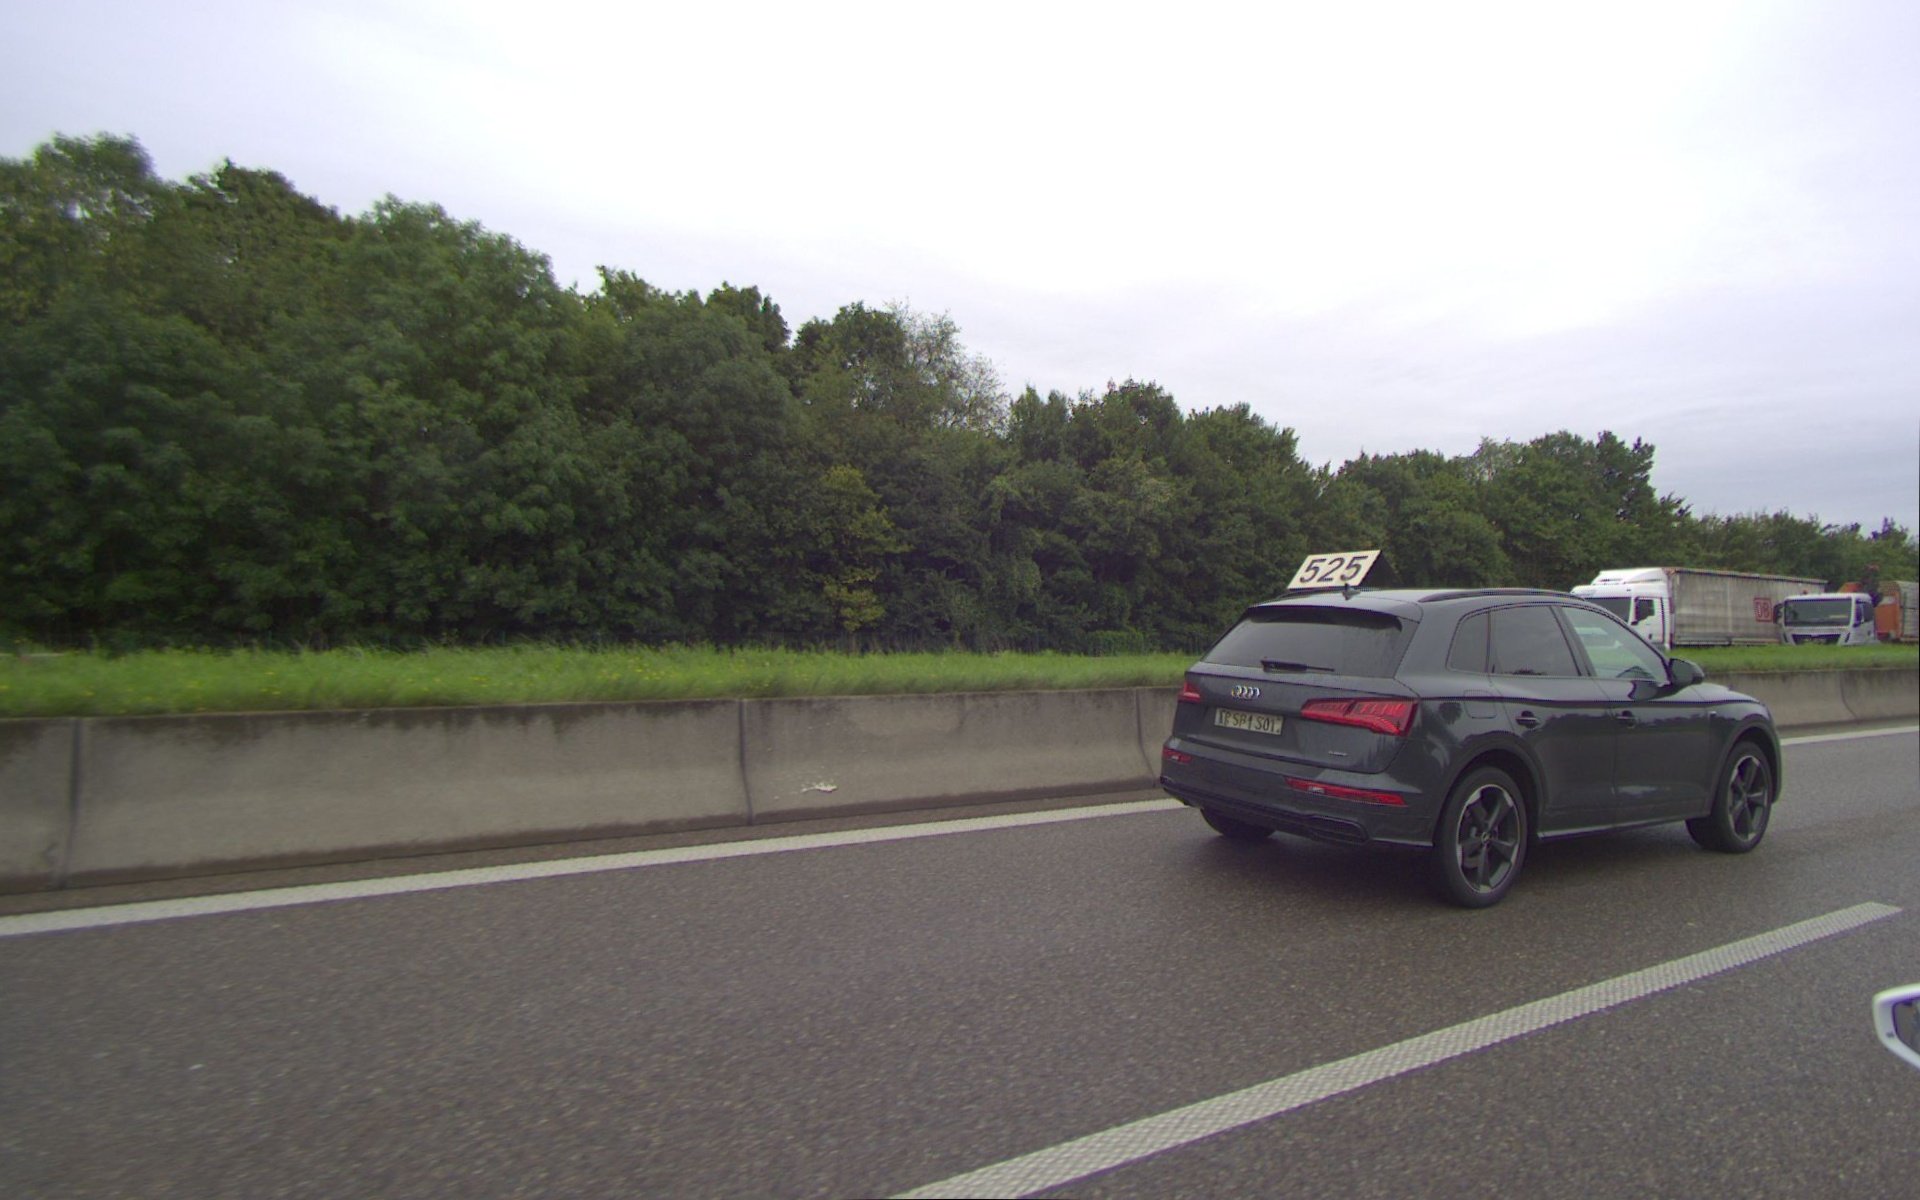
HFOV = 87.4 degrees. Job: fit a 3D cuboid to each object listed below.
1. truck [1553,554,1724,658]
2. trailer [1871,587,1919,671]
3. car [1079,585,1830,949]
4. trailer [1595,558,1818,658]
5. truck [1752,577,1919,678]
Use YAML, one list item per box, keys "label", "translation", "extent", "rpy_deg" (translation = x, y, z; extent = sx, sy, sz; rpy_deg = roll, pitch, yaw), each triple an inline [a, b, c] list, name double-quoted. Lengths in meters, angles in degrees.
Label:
- label: "truck"
  translation: [25.490, 0.301, 37.666]
  extent: [6.682, 3.598, 2.653]
  rpy_deg: [2, 0, -31]
- label: "trailer"
  translation: [43.390, 1.311, 43.838]
  extent: [8.221, 3.505, 2.918]
  rpy_deg: [2, 0, -30]
- label: "car"
  translation: [3.426, 0.807, 6.630]
  extent: [5.064, 1.621, 1.984]
  rpy_deg: [2, 0, -30]
- label: "trailer"
  translation: [30.231, 0.446, 40.420]
  extent: [11.729, 3.587, 2.673]
  rpy_deg: [2, 0, -30]
- label: "truck"
  translation: [34.979, 1.085, 38.887]
  extent: [11.055, 3.512, 2.936]
  rpy_deg: [2, 0, -31]
